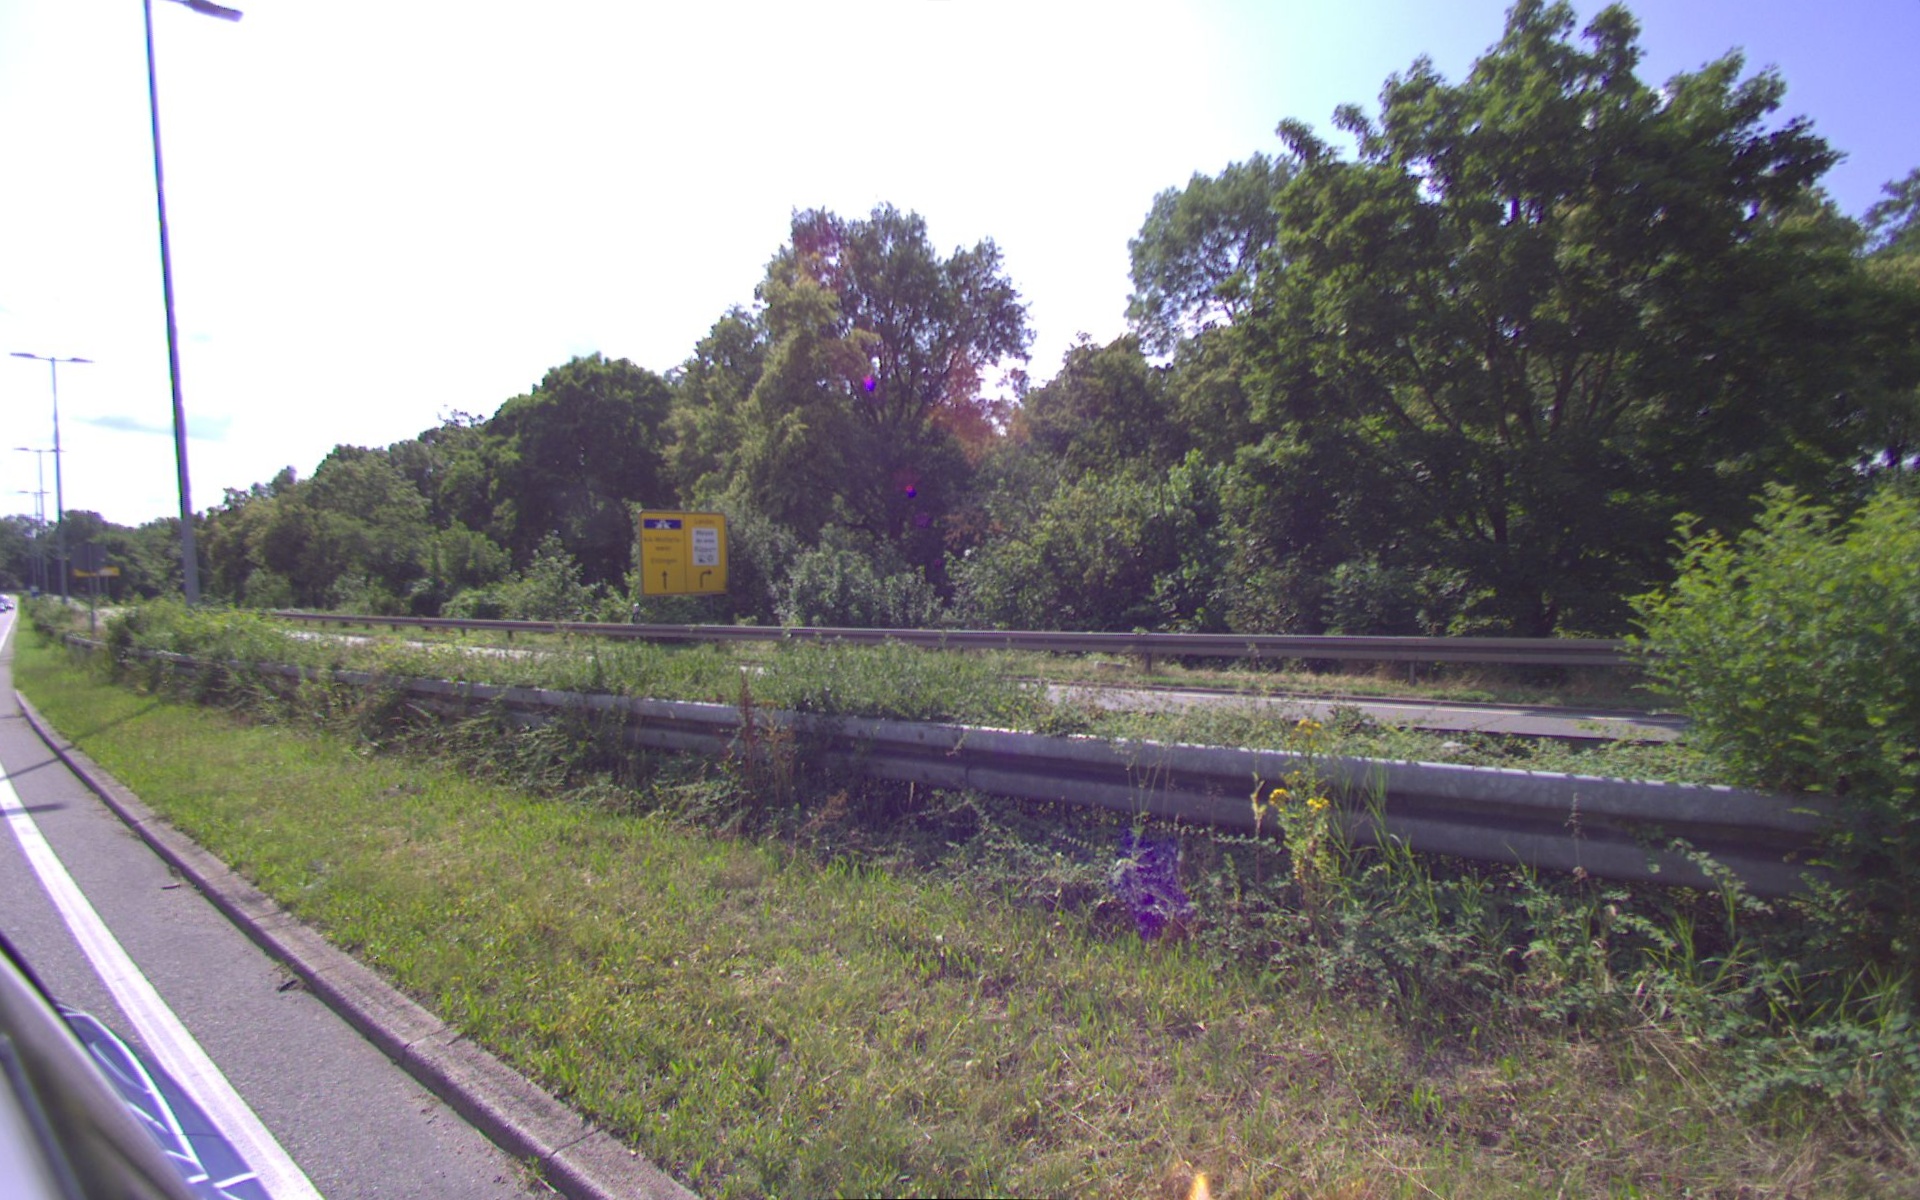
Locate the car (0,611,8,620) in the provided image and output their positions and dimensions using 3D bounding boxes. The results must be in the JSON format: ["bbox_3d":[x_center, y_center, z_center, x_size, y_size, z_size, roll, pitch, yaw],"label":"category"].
[{"bbox_3d":[-153.898,2.488,162.279,1.771,1.386,4.004,-2,0,-42],"label":"car"}]
